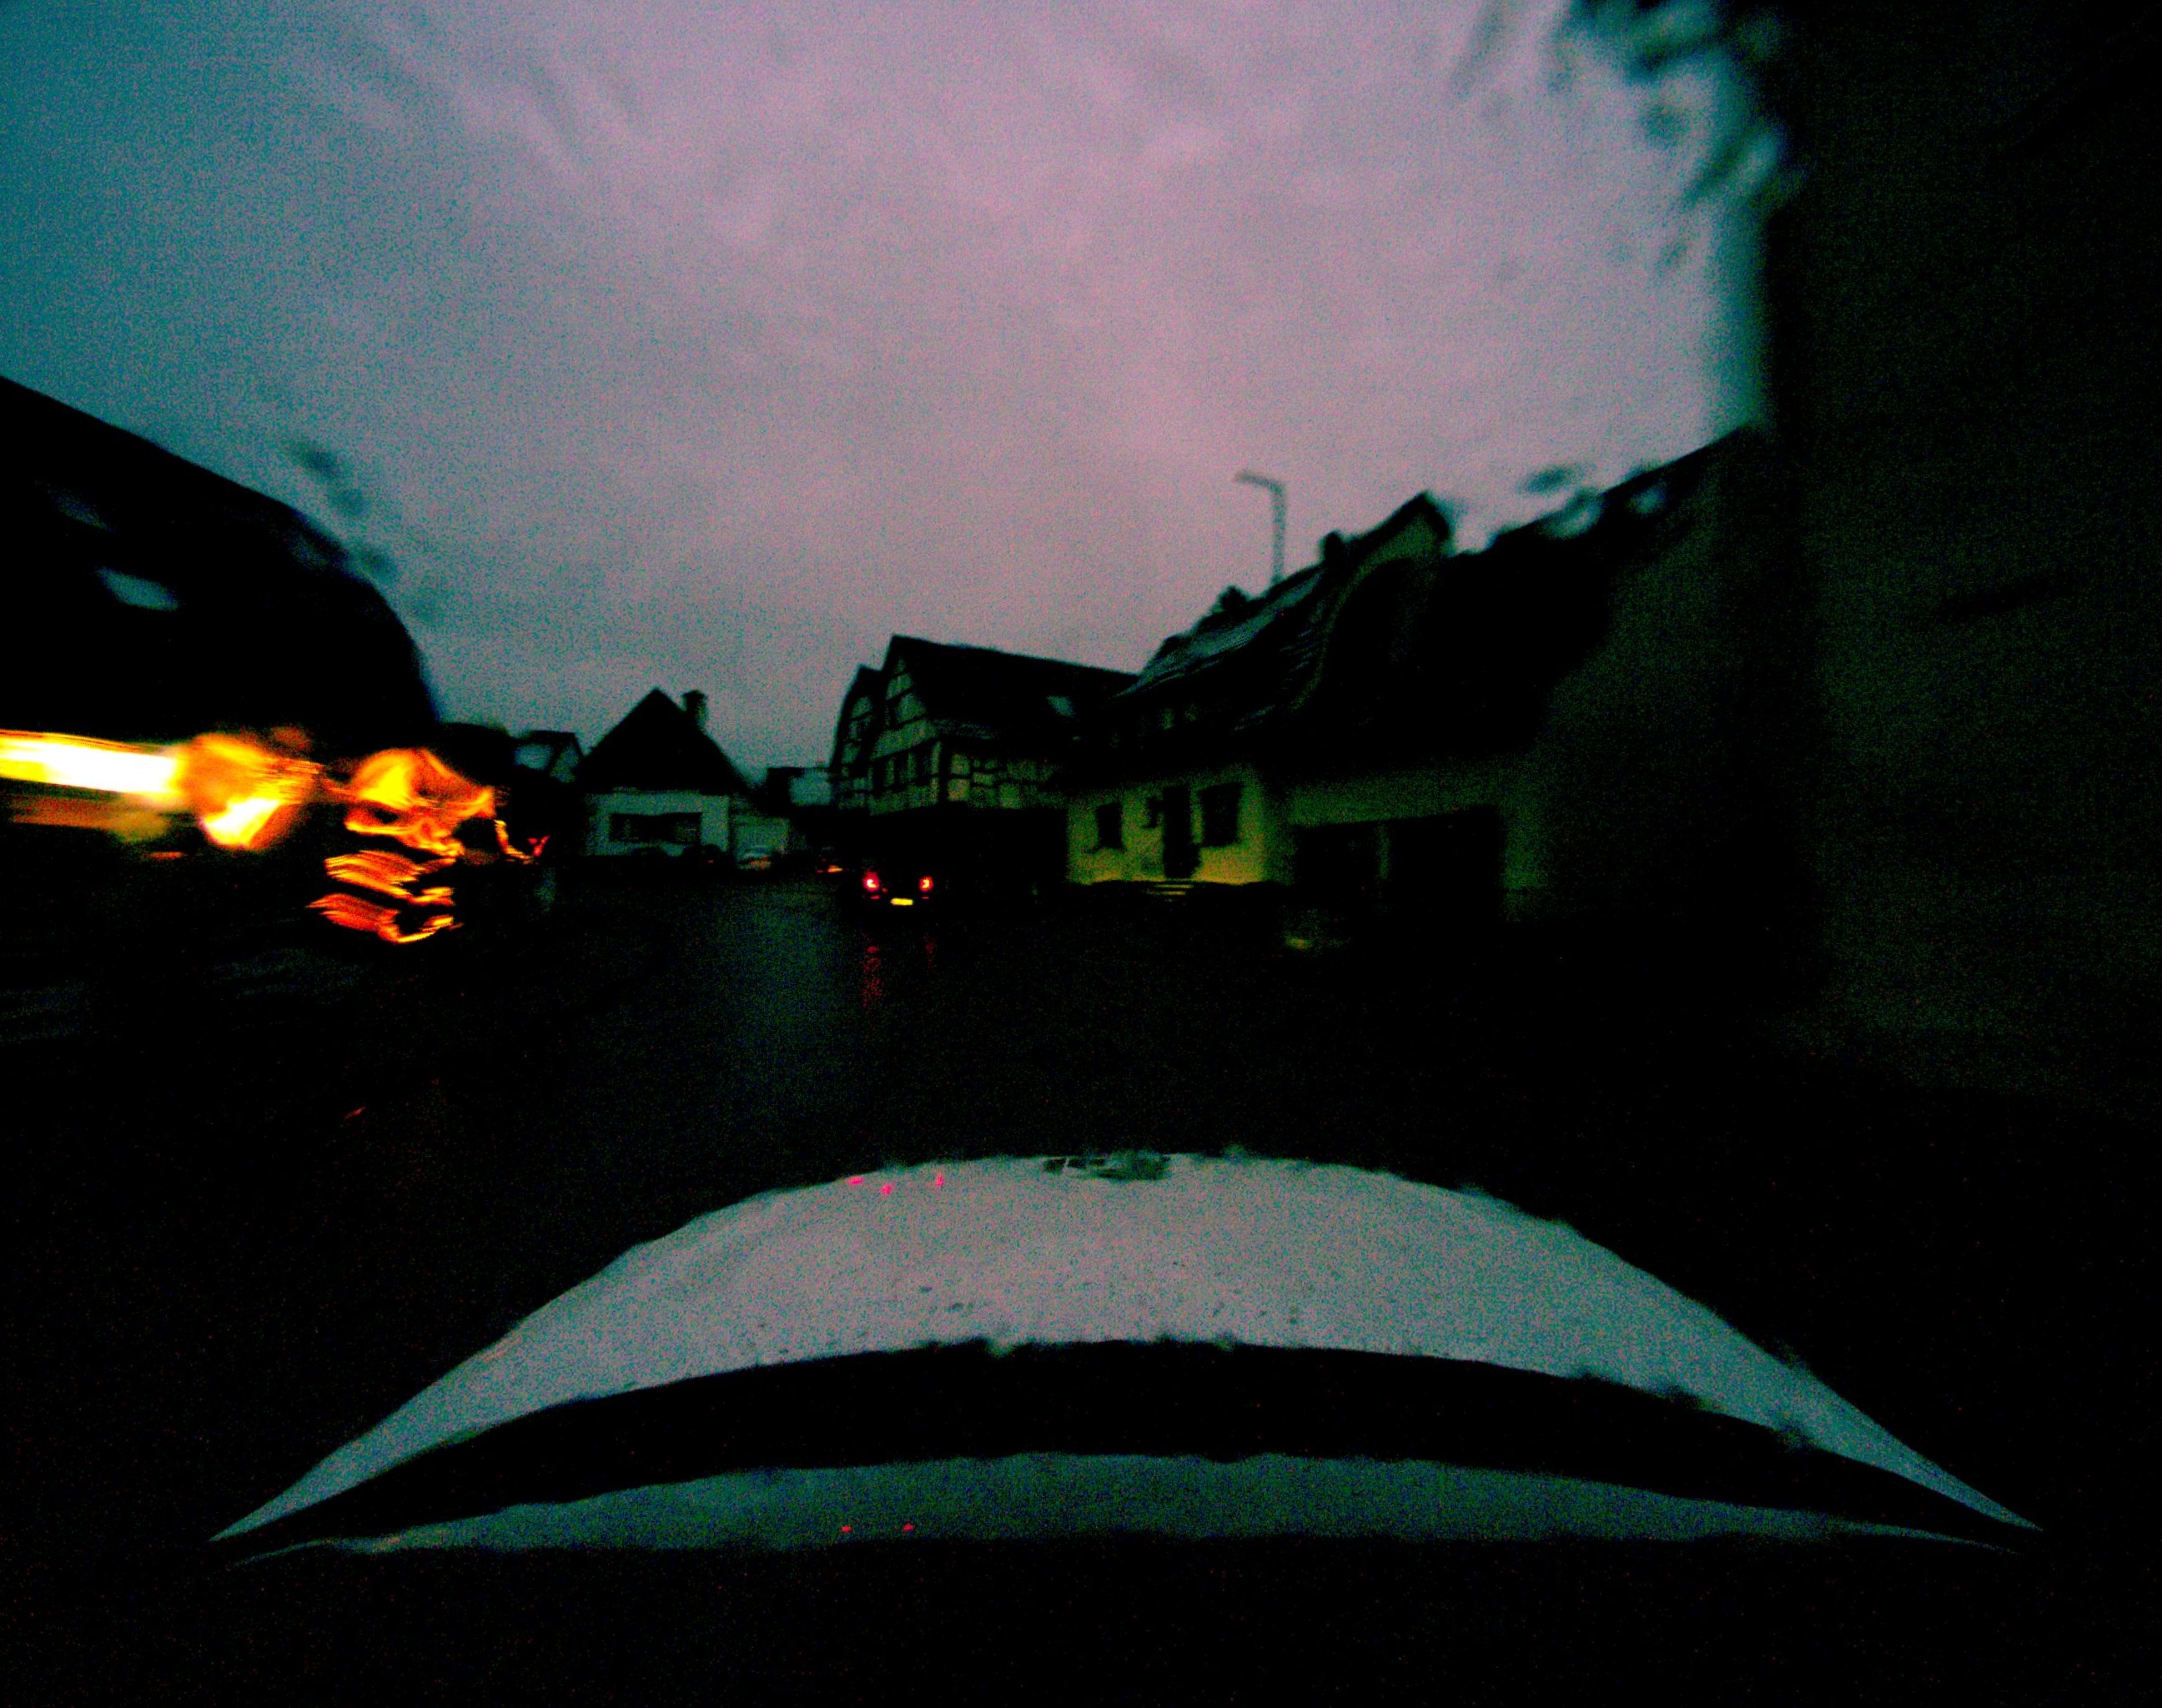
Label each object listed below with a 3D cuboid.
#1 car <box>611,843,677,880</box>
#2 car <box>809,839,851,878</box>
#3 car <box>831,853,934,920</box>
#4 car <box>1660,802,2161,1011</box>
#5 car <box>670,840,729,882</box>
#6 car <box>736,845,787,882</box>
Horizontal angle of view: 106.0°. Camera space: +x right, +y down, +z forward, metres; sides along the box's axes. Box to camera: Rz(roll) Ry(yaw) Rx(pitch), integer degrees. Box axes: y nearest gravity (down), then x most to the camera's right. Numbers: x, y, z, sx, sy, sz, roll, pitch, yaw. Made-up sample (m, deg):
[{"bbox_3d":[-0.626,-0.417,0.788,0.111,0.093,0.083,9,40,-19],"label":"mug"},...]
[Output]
[{"bbox_3d":[-21.502,0.304,40.220,1.885,1.449,3.876,-2,5,-14],"label":"car"},{"bbox_3d":[-12.268,0.168,39.690,1.599,1.515,3.958,-3,5,-21],"label":"car"},{"bbox_3d":[-4.950,0.729,19.959,1.555,1.466,3.664,1,0,-29],"label":"car"},{"bbox_3d":[7.563,0.394,7.407,3.474,1.506,1.647,-3,0,-5],"label":"car"},{"bbox_3d":[-18.820,0.303,40.406,1.853,1.660,4.454,-2,5,-16],"label":"car"},{"bbox_3d":[-15.736,0.408,40.296,1.812,1.420,4.020,-2,5,-14],"label":"car"}]
